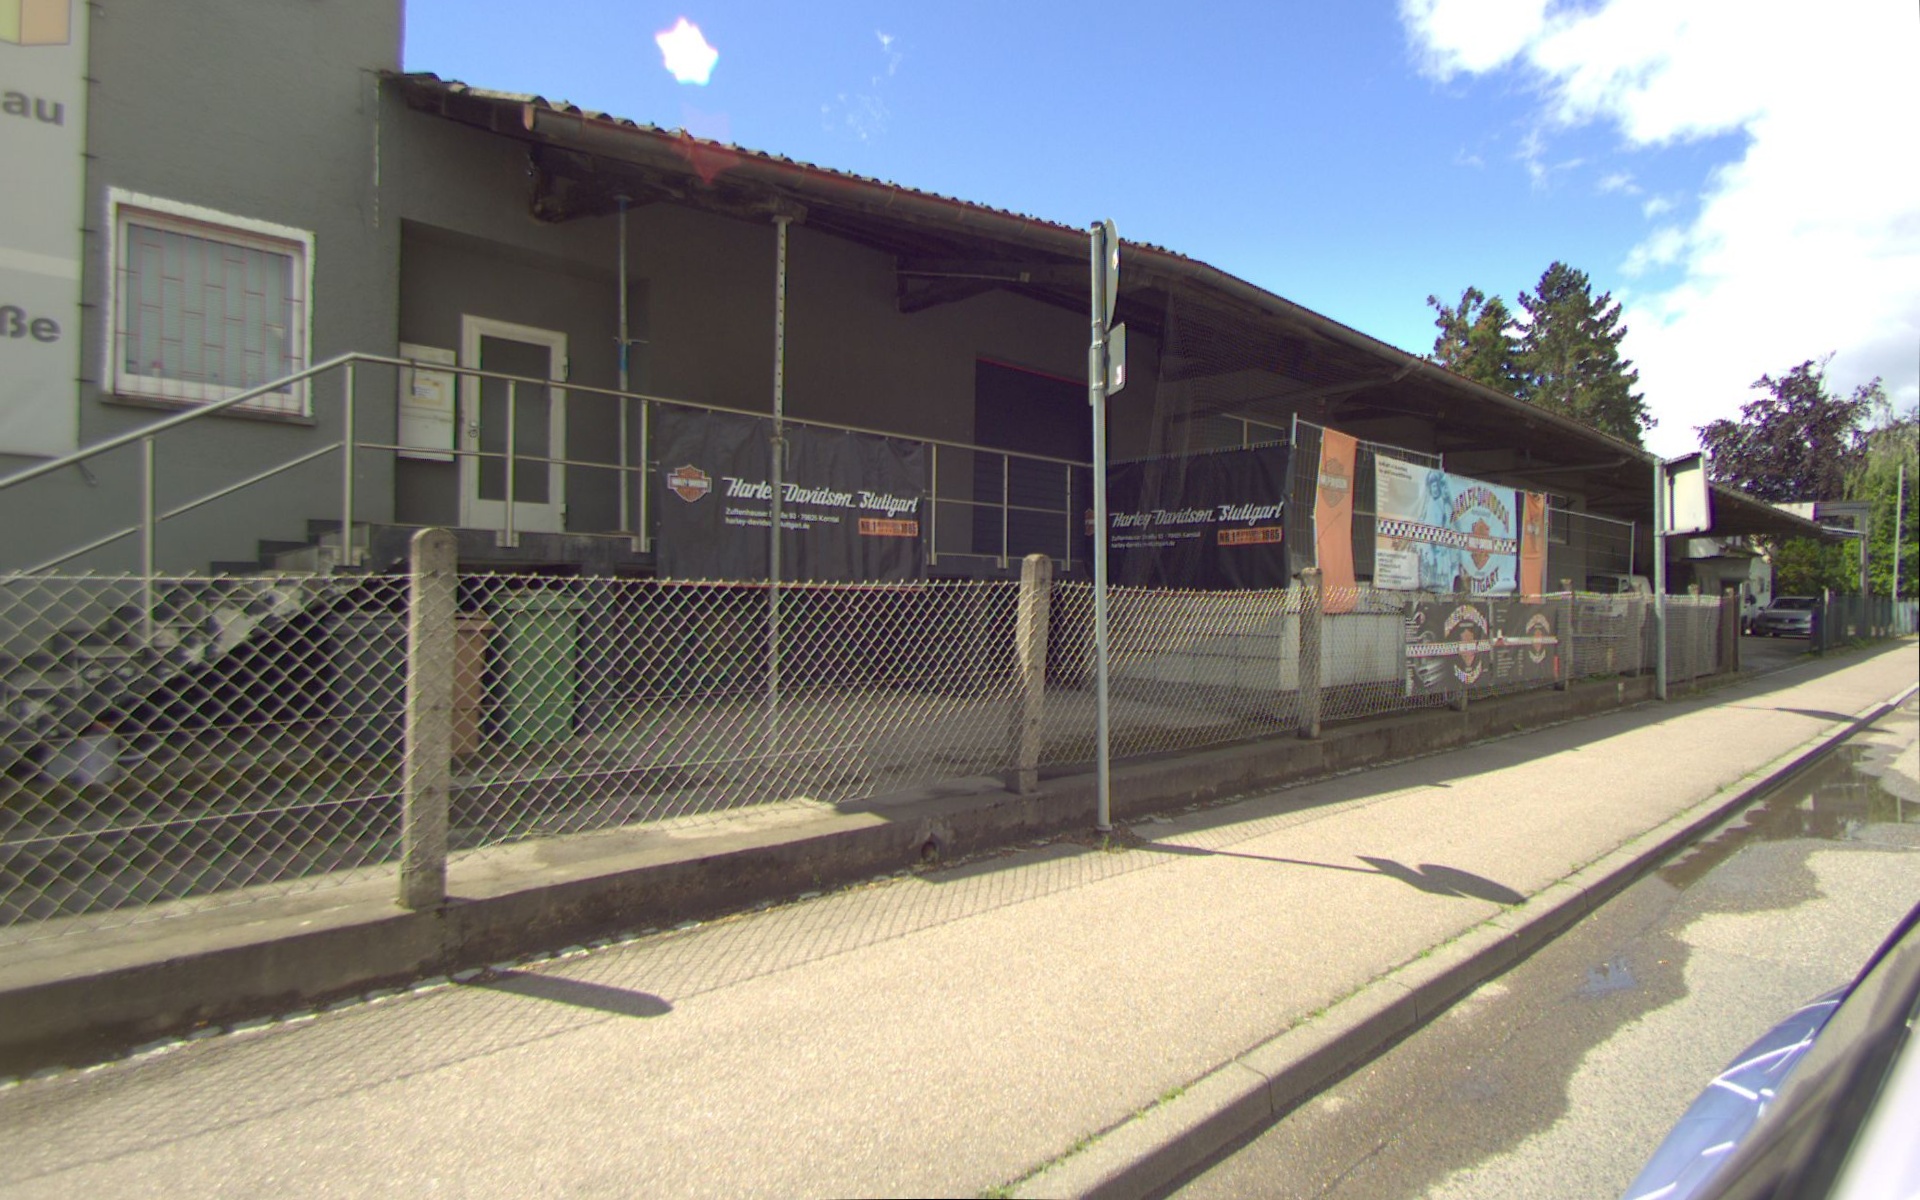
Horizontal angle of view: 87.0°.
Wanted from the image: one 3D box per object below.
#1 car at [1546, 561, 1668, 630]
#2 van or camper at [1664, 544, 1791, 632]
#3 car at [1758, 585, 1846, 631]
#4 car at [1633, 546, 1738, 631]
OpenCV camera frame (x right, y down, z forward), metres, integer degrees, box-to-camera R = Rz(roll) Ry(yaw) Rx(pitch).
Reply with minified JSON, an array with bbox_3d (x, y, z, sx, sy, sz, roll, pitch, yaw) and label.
[{"bbox_3d":[19.803,-0.118,30.914,4.770,1.934,1.996,1,0,-43],"label":"car"},{"bbox_3d":[29.616,-0.446,38.928,6.798,3.099,2.883,0,0,-44],"label":"van or camper"},{"bbox_3d":[29.637,0.277,35.568,4.842,1.508,1.766,1,0,-43],"label":"car"},{"bbox_3d":[25.158,-0.338,35.030,5.405,2.715,2.019,2,-1,-44],"label":"car"}]
